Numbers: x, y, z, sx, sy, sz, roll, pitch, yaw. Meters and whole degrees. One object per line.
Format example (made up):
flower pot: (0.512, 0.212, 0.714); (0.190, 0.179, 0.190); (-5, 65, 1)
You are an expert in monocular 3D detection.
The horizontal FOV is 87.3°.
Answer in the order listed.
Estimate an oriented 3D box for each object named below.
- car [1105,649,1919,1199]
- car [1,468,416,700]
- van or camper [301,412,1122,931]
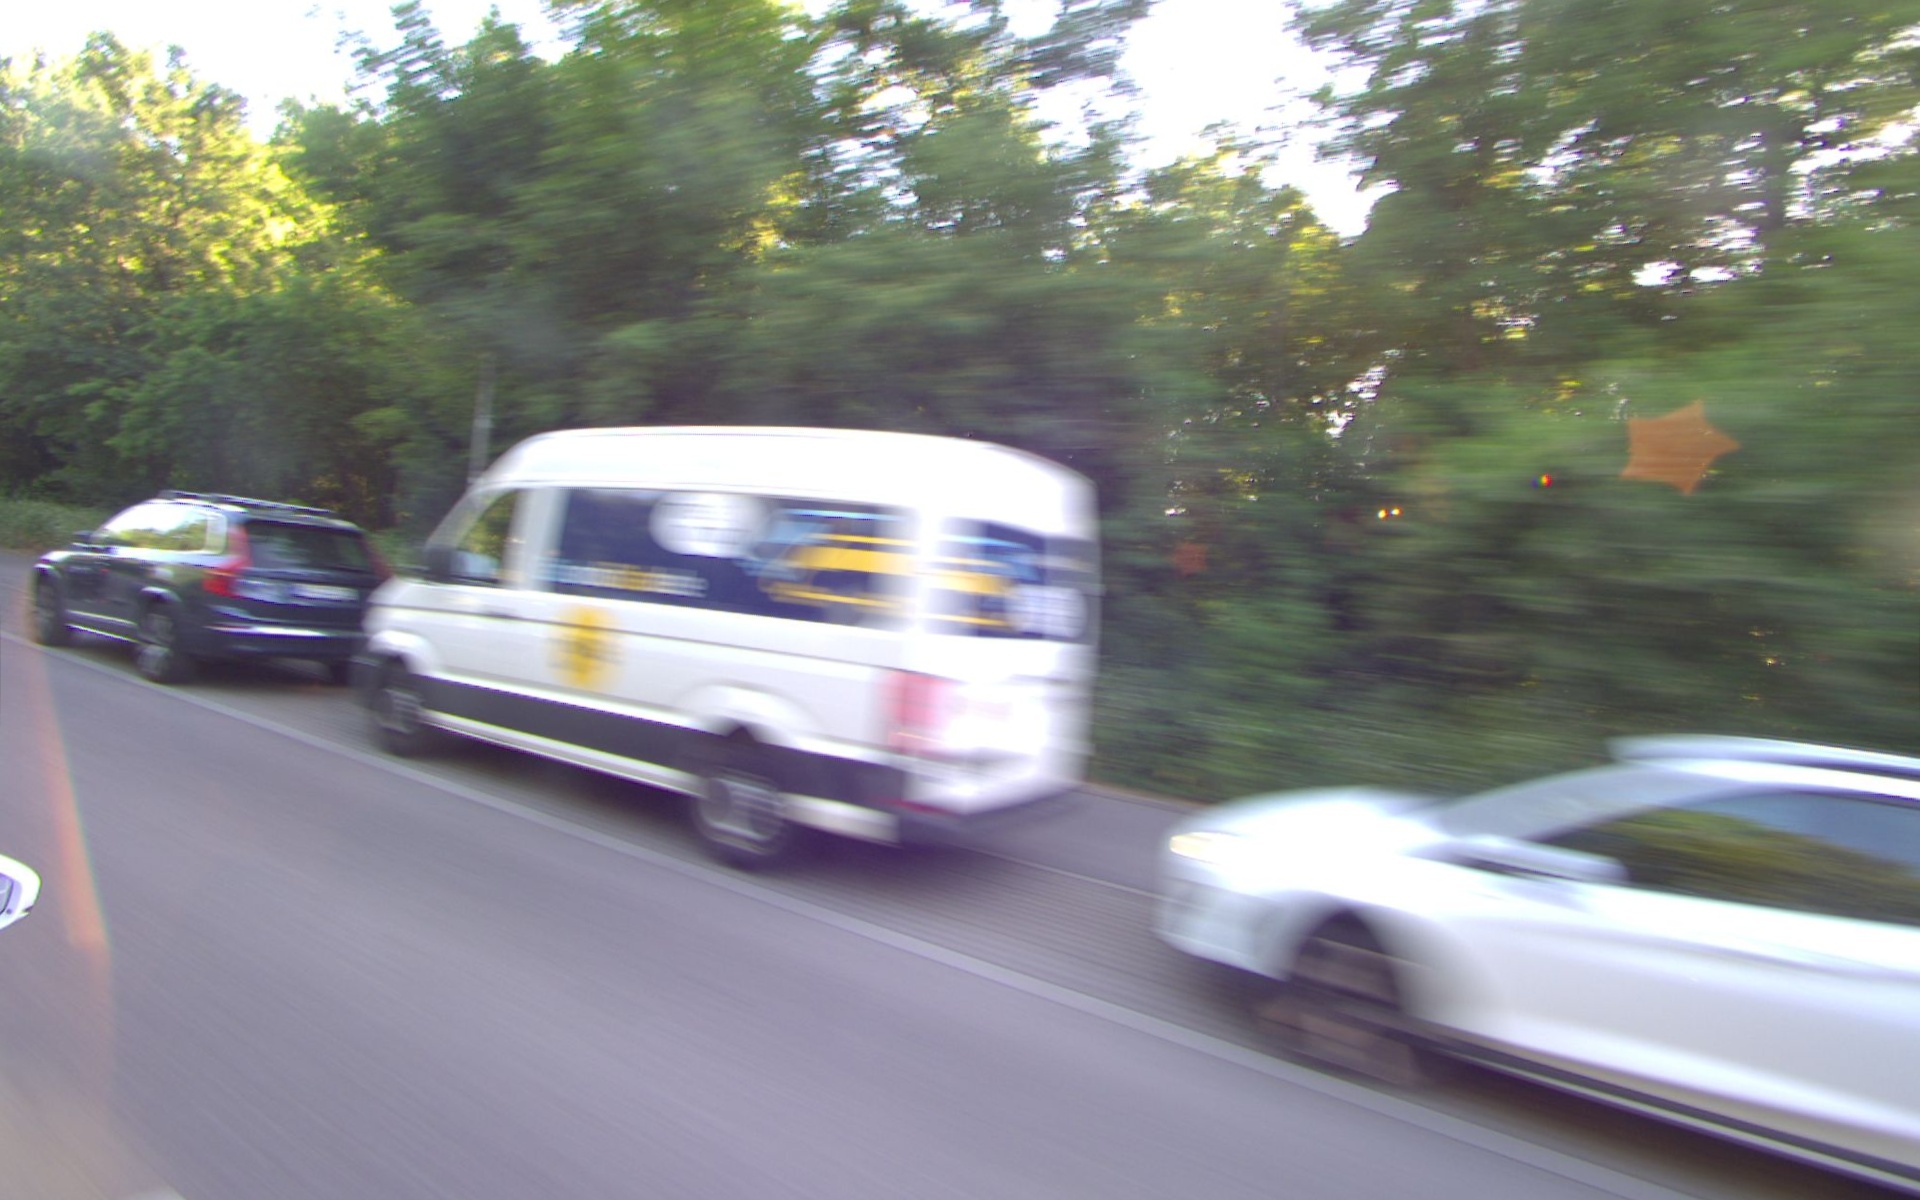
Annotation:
car: (2.871, 1.215, 4.009); (4.076, 1.515, 1.724); (7, 1, 31)
car: (-8.326, -0.244, 10.998); (4.990, 1.891, 1.832); (7, 0, 32)
van or camper: (-2.081, 0.156, 7.433); (5.879, 2.548, 2.122); (7, 0, 31)
